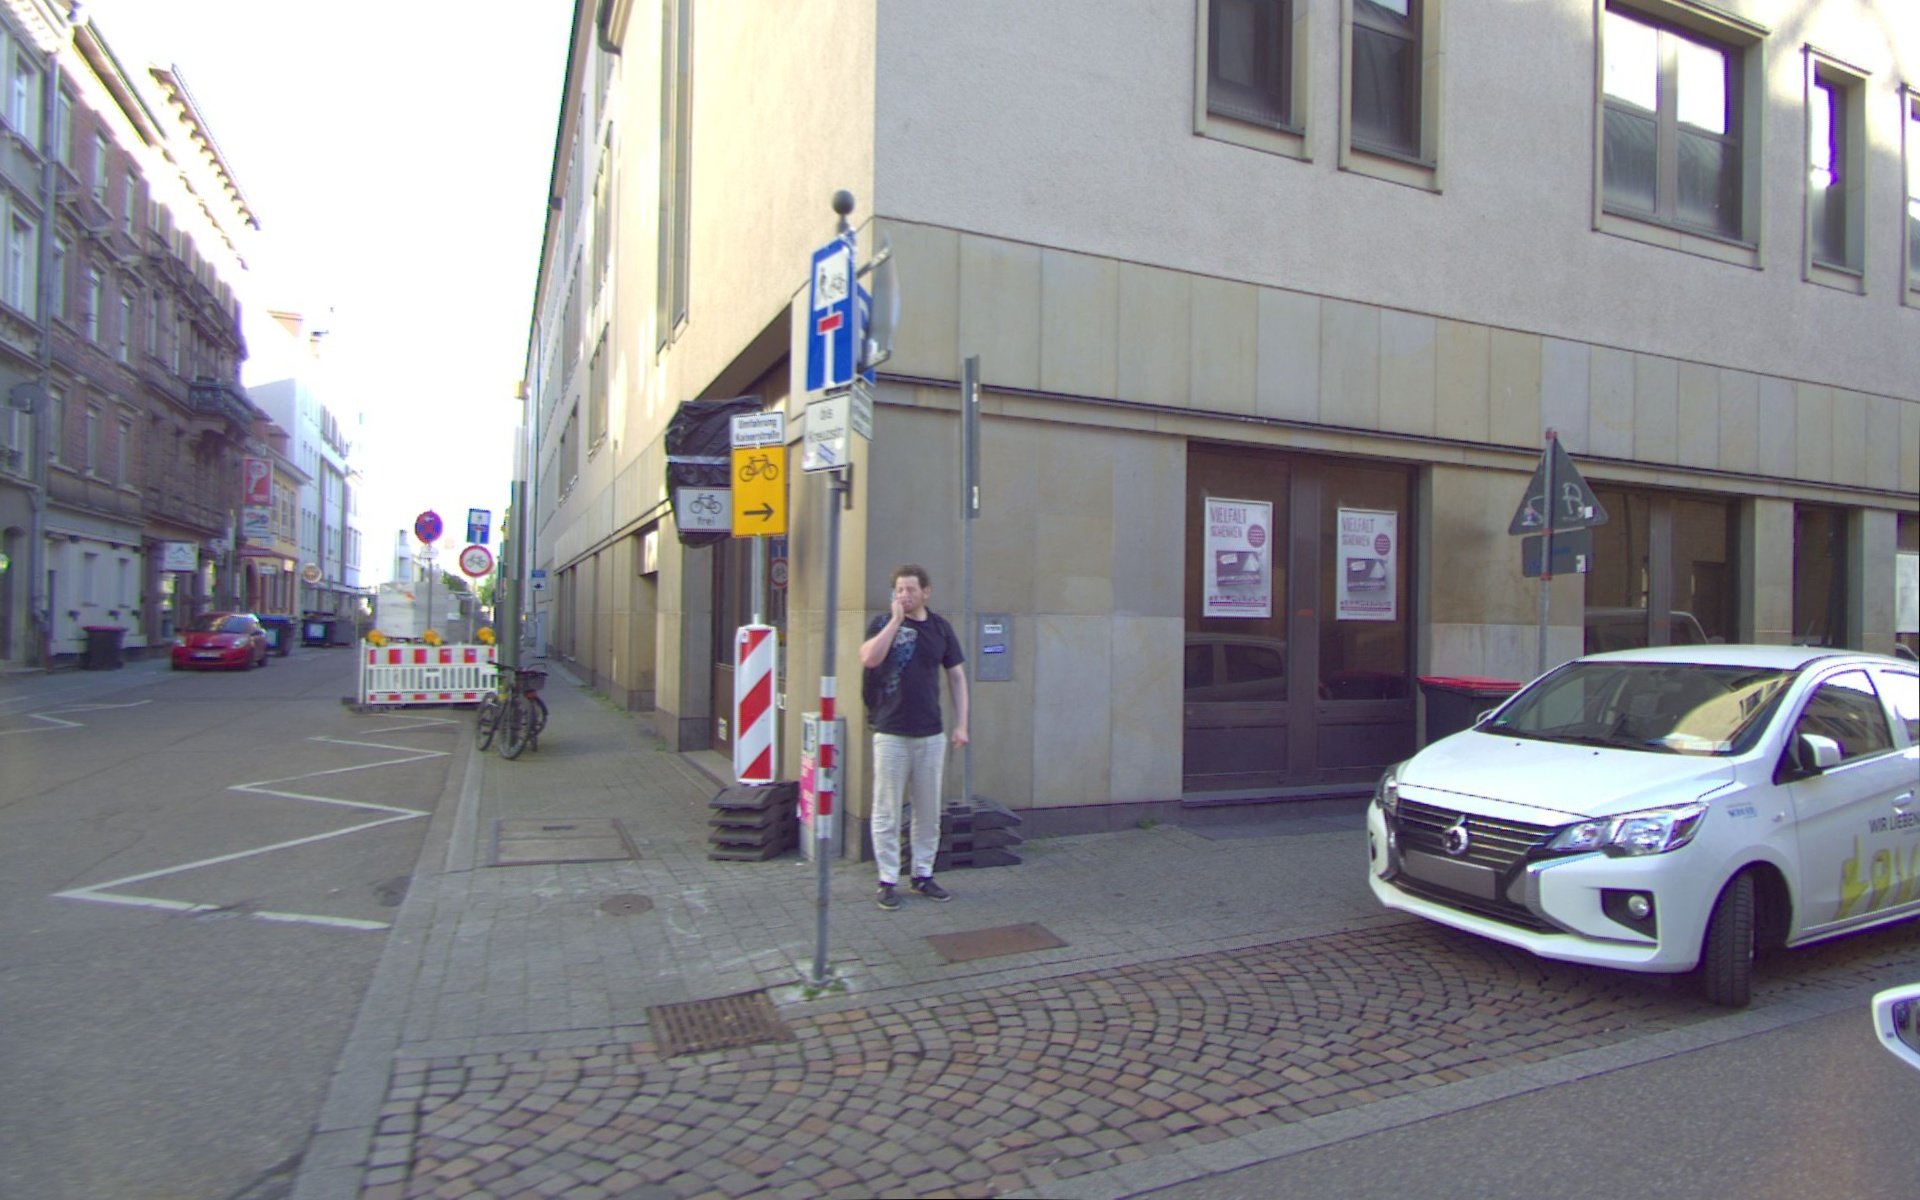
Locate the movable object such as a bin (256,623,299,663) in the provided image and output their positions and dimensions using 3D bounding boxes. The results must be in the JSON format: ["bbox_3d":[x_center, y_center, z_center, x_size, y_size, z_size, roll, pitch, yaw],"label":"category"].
[{"bbox_3d":[-23.853,1.504,35.136,1.070,1.366,0.901,3,-3,-28],"label":"movable object such as a bin"}]

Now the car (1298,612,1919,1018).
[{"bbox_3d":[3.861,0.902,5.376,3.748,1.511,1.732,2,-4,-25],"label":"car"}]

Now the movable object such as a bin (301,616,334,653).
[{"bbox_3d":[-28.394,1.534,44.415,1.070,1.564,0.901,3,-3,-28],"label":"movable object such as a bin"}]

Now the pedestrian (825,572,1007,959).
[{"bbox_3d":[-0.256,0.837,5.445,0.706,1.878,0.857,3,-4,-22],"label":"pedestrian"}]

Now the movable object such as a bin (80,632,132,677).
[{"bbox_3d":[-21.053,1.336,24.782,0.828,1.062,0.748,2,0,-30],"label":"movable object such as a bin"}]

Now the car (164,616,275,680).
[{"bbox_3d":[-19.973,1.282,27.269,1.772,1.545,3.971,3,-3,-28],"label":"car"}]

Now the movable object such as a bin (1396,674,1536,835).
[{"bbox_3d":[3.896,1.159,7.760,0.583,1.115,0.734,2,0,-24],"label":"movable object such as a bin"}]

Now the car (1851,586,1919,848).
[{"bbox_3d":[9.278,0.862,7.537,4.663,1.881,1.897,1,-4,-21],"label":"car"}]

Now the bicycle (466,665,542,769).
[{"bbox_3d":[-5.303,1.316,11.641,0.300,1.064,1.770,2,-2,-41],"label":"bicycle"}]

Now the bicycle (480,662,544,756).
[{"bbox_3d":[-5.663,1.342,12.663,0.300,1.064,1.524,2,-2,-41],"label":"bicycle"}]
